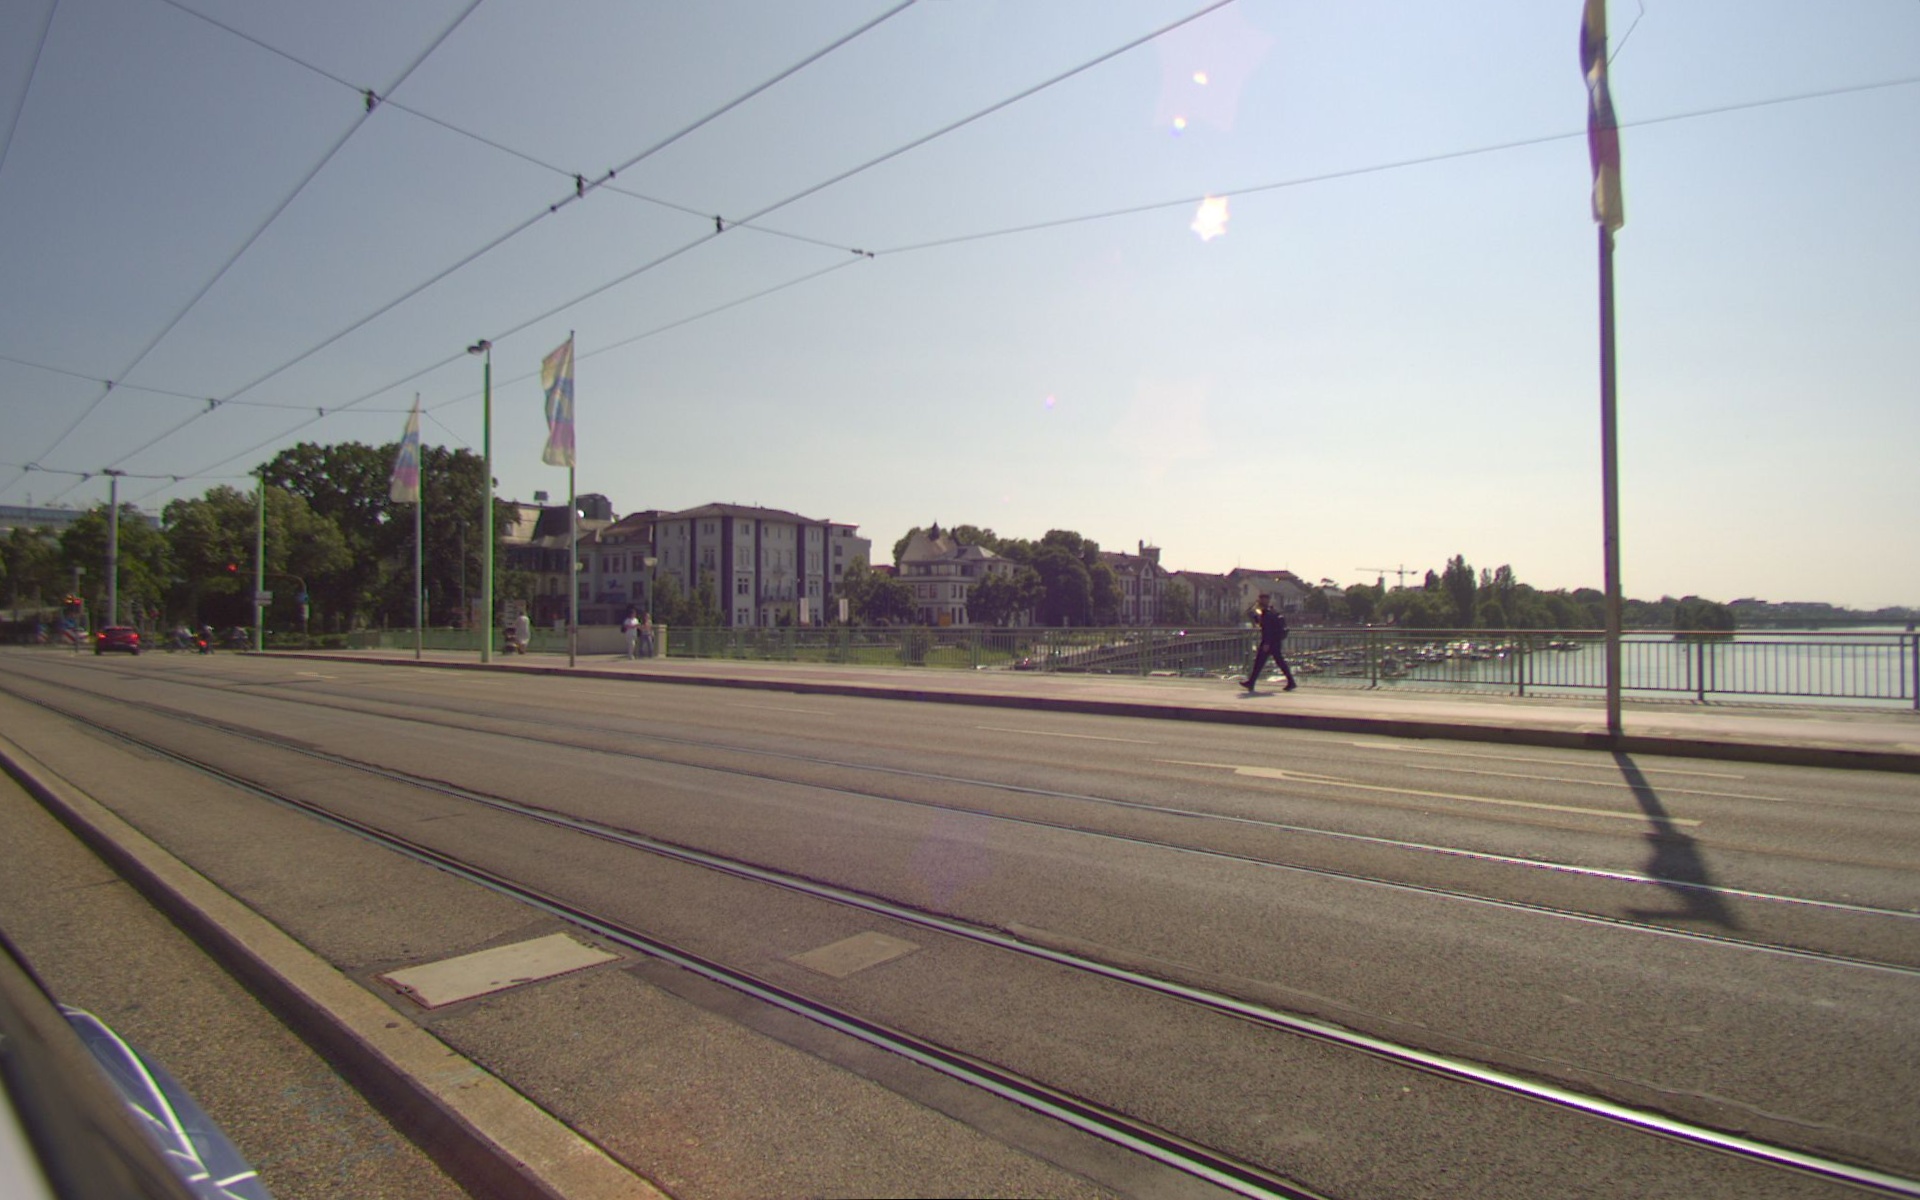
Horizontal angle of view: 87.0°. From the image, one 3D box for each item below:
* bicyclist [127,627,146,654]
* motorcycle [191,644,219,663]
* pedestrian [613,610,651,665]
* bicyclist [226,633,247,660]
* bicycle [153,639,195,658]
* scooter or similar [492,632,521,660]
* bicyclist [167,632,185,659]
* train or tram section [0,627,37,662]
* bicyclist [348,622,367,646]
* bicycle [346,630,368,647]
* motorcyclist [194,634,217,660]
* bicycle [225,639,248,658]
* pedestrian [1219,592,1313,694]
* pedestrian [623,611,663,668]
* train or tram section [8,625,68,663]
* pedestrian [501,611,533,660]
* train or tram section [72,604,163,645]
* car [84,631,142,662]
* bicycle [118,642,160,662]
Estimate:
[{"bbox_3d":[-48.930,2.397,60.138,0.865,1.621,0.773,1,-1,-37],"label":"bicyclist"},{"bbox_3d":[-42.253,2.987,56.662,1.950,1.032,0.836,-2,-1,40],"label":"motorcycle"},{"bbox_3d":[-10.933,1.246,33.774,0.956,1.797,0.731,-2,1,39],"label":"pedestrian"},{"bbox_3d":[-44.340,2.872,62.040,0.772,1.621,0.867,-4,-5,43],"label":"bicyclist"},{"bbox_3d":[-46.949,2.882,60.452,1.887,1.122,0.763,1,-1,-31],"label":"bicycle"},{"bbox_3d":[-18.270,1.843,40.747,0.832,1.037,0.731,-2,1,39],"label":"scooter or similar"},{"bbox_3d":[-46.875,2.712,60.503,0.759,1.621,0.882,1,-2,-31],"label":"bicyclist"},{"bbox_3d":[-105.441,4.859,112.318,9.149,3.806,2.515,-1,-2,36],"label":"train or tram section"},{"bbox_3d":[-40.480,2.289,68.023,0.771,1.621,0.868,-1,-2,41],"label":"bicyclist"},{"bbox_3d":[-40.570,2.569,68.084,1.919,1.122,0.751,-1,-1,42],"label":"bicycle"},{"bbox_3d":[-42.326,2.603,56.783,0.897,1.412,0.836,-2,-1,39],"label":"motorcyclist"},{"bbox_3d":[-44.364,2.978,62.037,1.920,1.122,0.750,-4,-1,43],"label":"bicycle"},{"bbox_3d":[5.559,0.769,18.371,1.294,1.771,1.086,-2,-2,39],"label":"pedestrian"},{"bbox_3d":[-10.745,1.318,34.302,1.120,1.862,0.731,-2,1,39],"label":"pedestrian"},{"bbox_3d":[-97.792,4.694,107.306,9.142,3.806,2.517,-3,-2,33],"label":"train or tram section"},{"bbox_3d":[-17.589,1.407,40.153,0.974,1.867,0.731,-2,1,39],"label":"pedestrian"},{"bbox_3d":[-81.361,2.335,97.647,11.793,3.806,2.454,-1,-2,28],"label":"train or tram section"},{"bbox_3d":[-44.412,2.404,53.053,1.971,1.526,4.192,1,-1,-45],"label":"car"},{"bbox_3d":[-48.866,3.099,60.221,1.888,1.122,0.763,1,-1,-36],"label":"bicycle"}]
